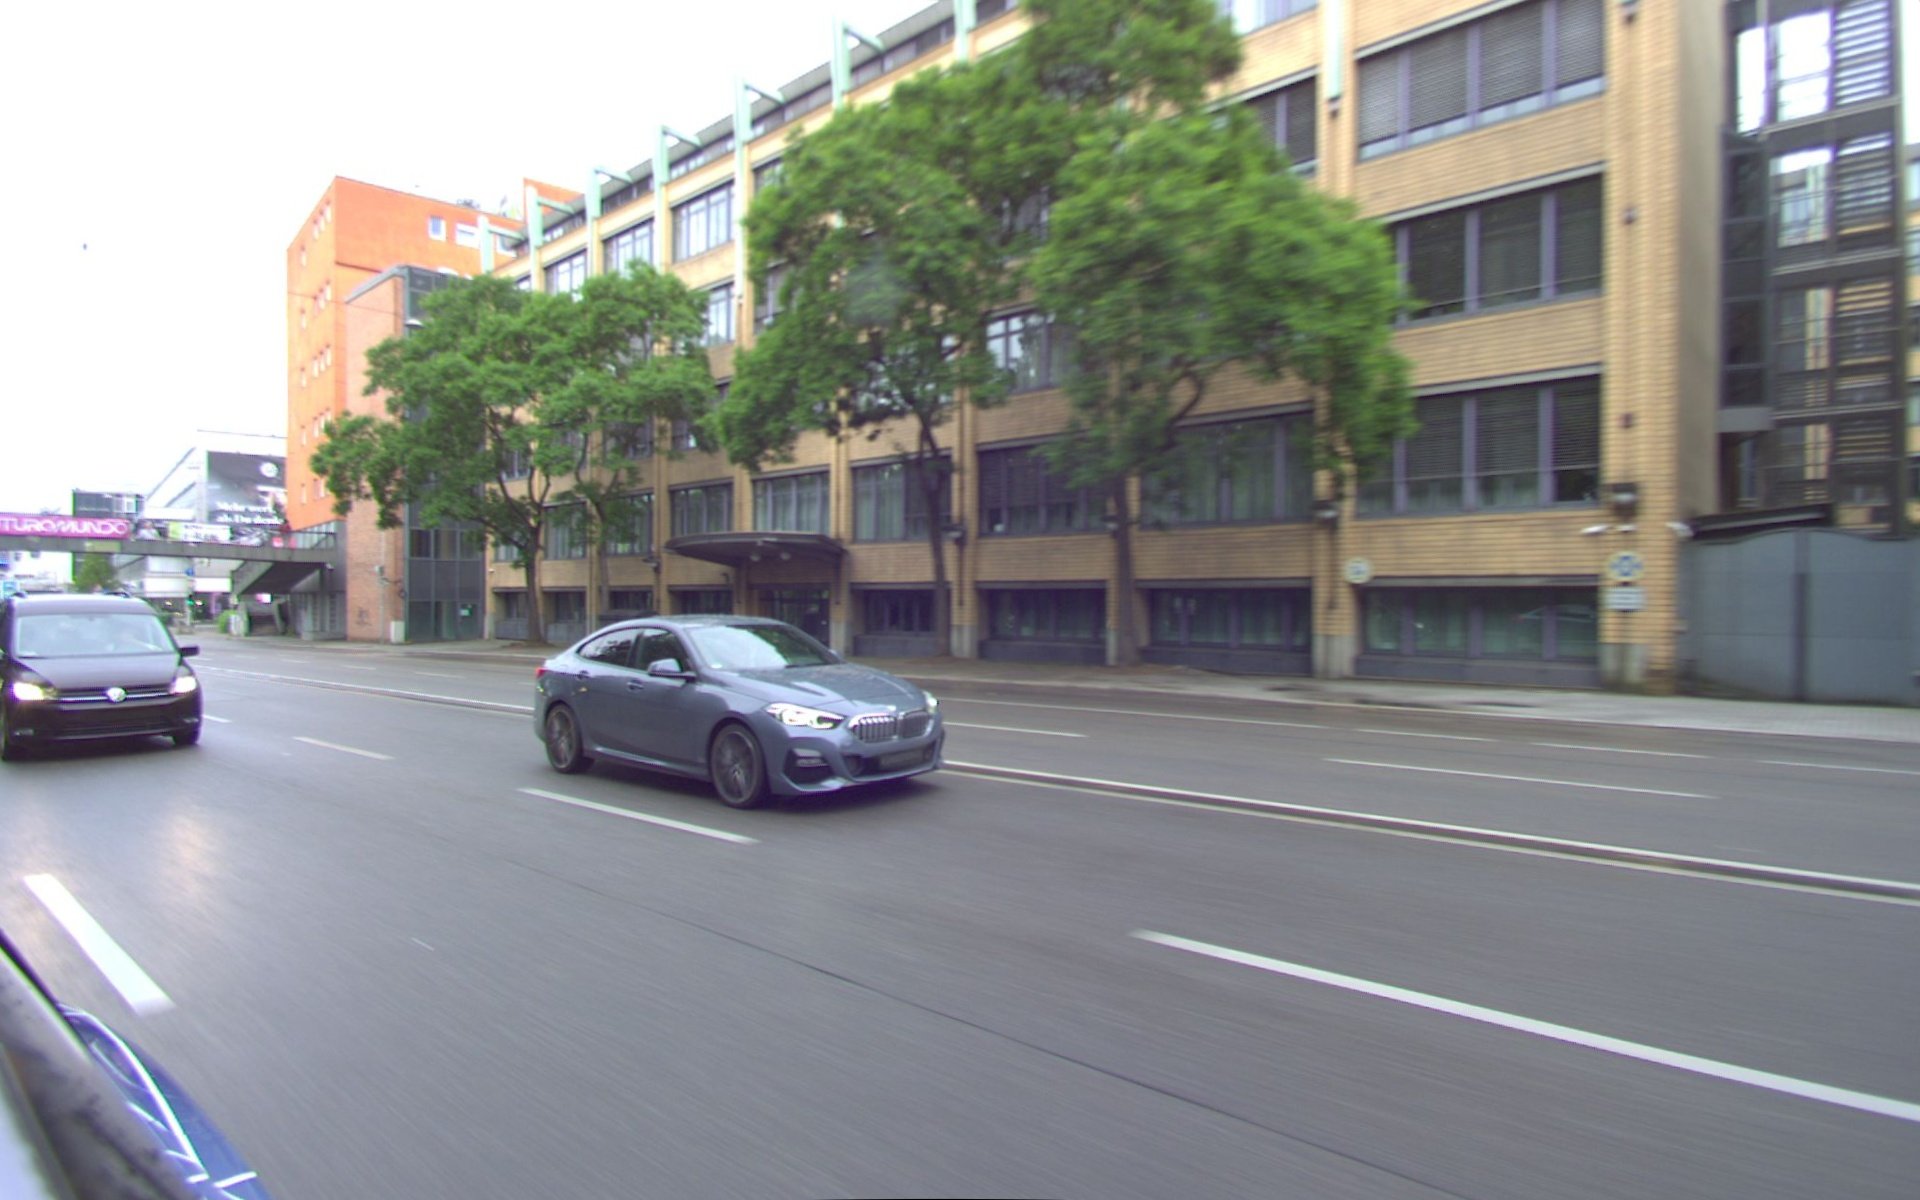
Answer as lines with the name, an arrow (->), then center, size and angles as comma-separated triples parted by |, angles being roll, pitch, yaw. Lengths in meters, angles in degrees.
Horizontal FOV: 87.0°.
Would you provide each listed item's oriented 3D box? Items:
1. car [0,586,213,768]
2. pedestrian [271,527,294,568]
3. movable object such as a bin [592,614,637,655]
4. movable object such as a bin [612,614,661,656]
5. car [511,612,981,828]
car -> -10.424, 0.825, 12.006 | 4.001, 1.805, 1.817 | -2, -3, 44
pedestrian -> -38.758, -2.988, 57.904 | 0.737, 2.272, 0.823 | 0, -2, 35
movable object such as a bin -> -12.777, 1.269, 37.404 | 1.312, 1.447, 0.964 | -2, 0, 37
movable object such as a bin -> -11.706, 1.255, 36.578 | 1.370, 1.447, 1.058 | -2, 0, 36
car -> -2.068, 0.837, 8.821 | 4.538, 1.426, 1.647 | -1, -1, 42
